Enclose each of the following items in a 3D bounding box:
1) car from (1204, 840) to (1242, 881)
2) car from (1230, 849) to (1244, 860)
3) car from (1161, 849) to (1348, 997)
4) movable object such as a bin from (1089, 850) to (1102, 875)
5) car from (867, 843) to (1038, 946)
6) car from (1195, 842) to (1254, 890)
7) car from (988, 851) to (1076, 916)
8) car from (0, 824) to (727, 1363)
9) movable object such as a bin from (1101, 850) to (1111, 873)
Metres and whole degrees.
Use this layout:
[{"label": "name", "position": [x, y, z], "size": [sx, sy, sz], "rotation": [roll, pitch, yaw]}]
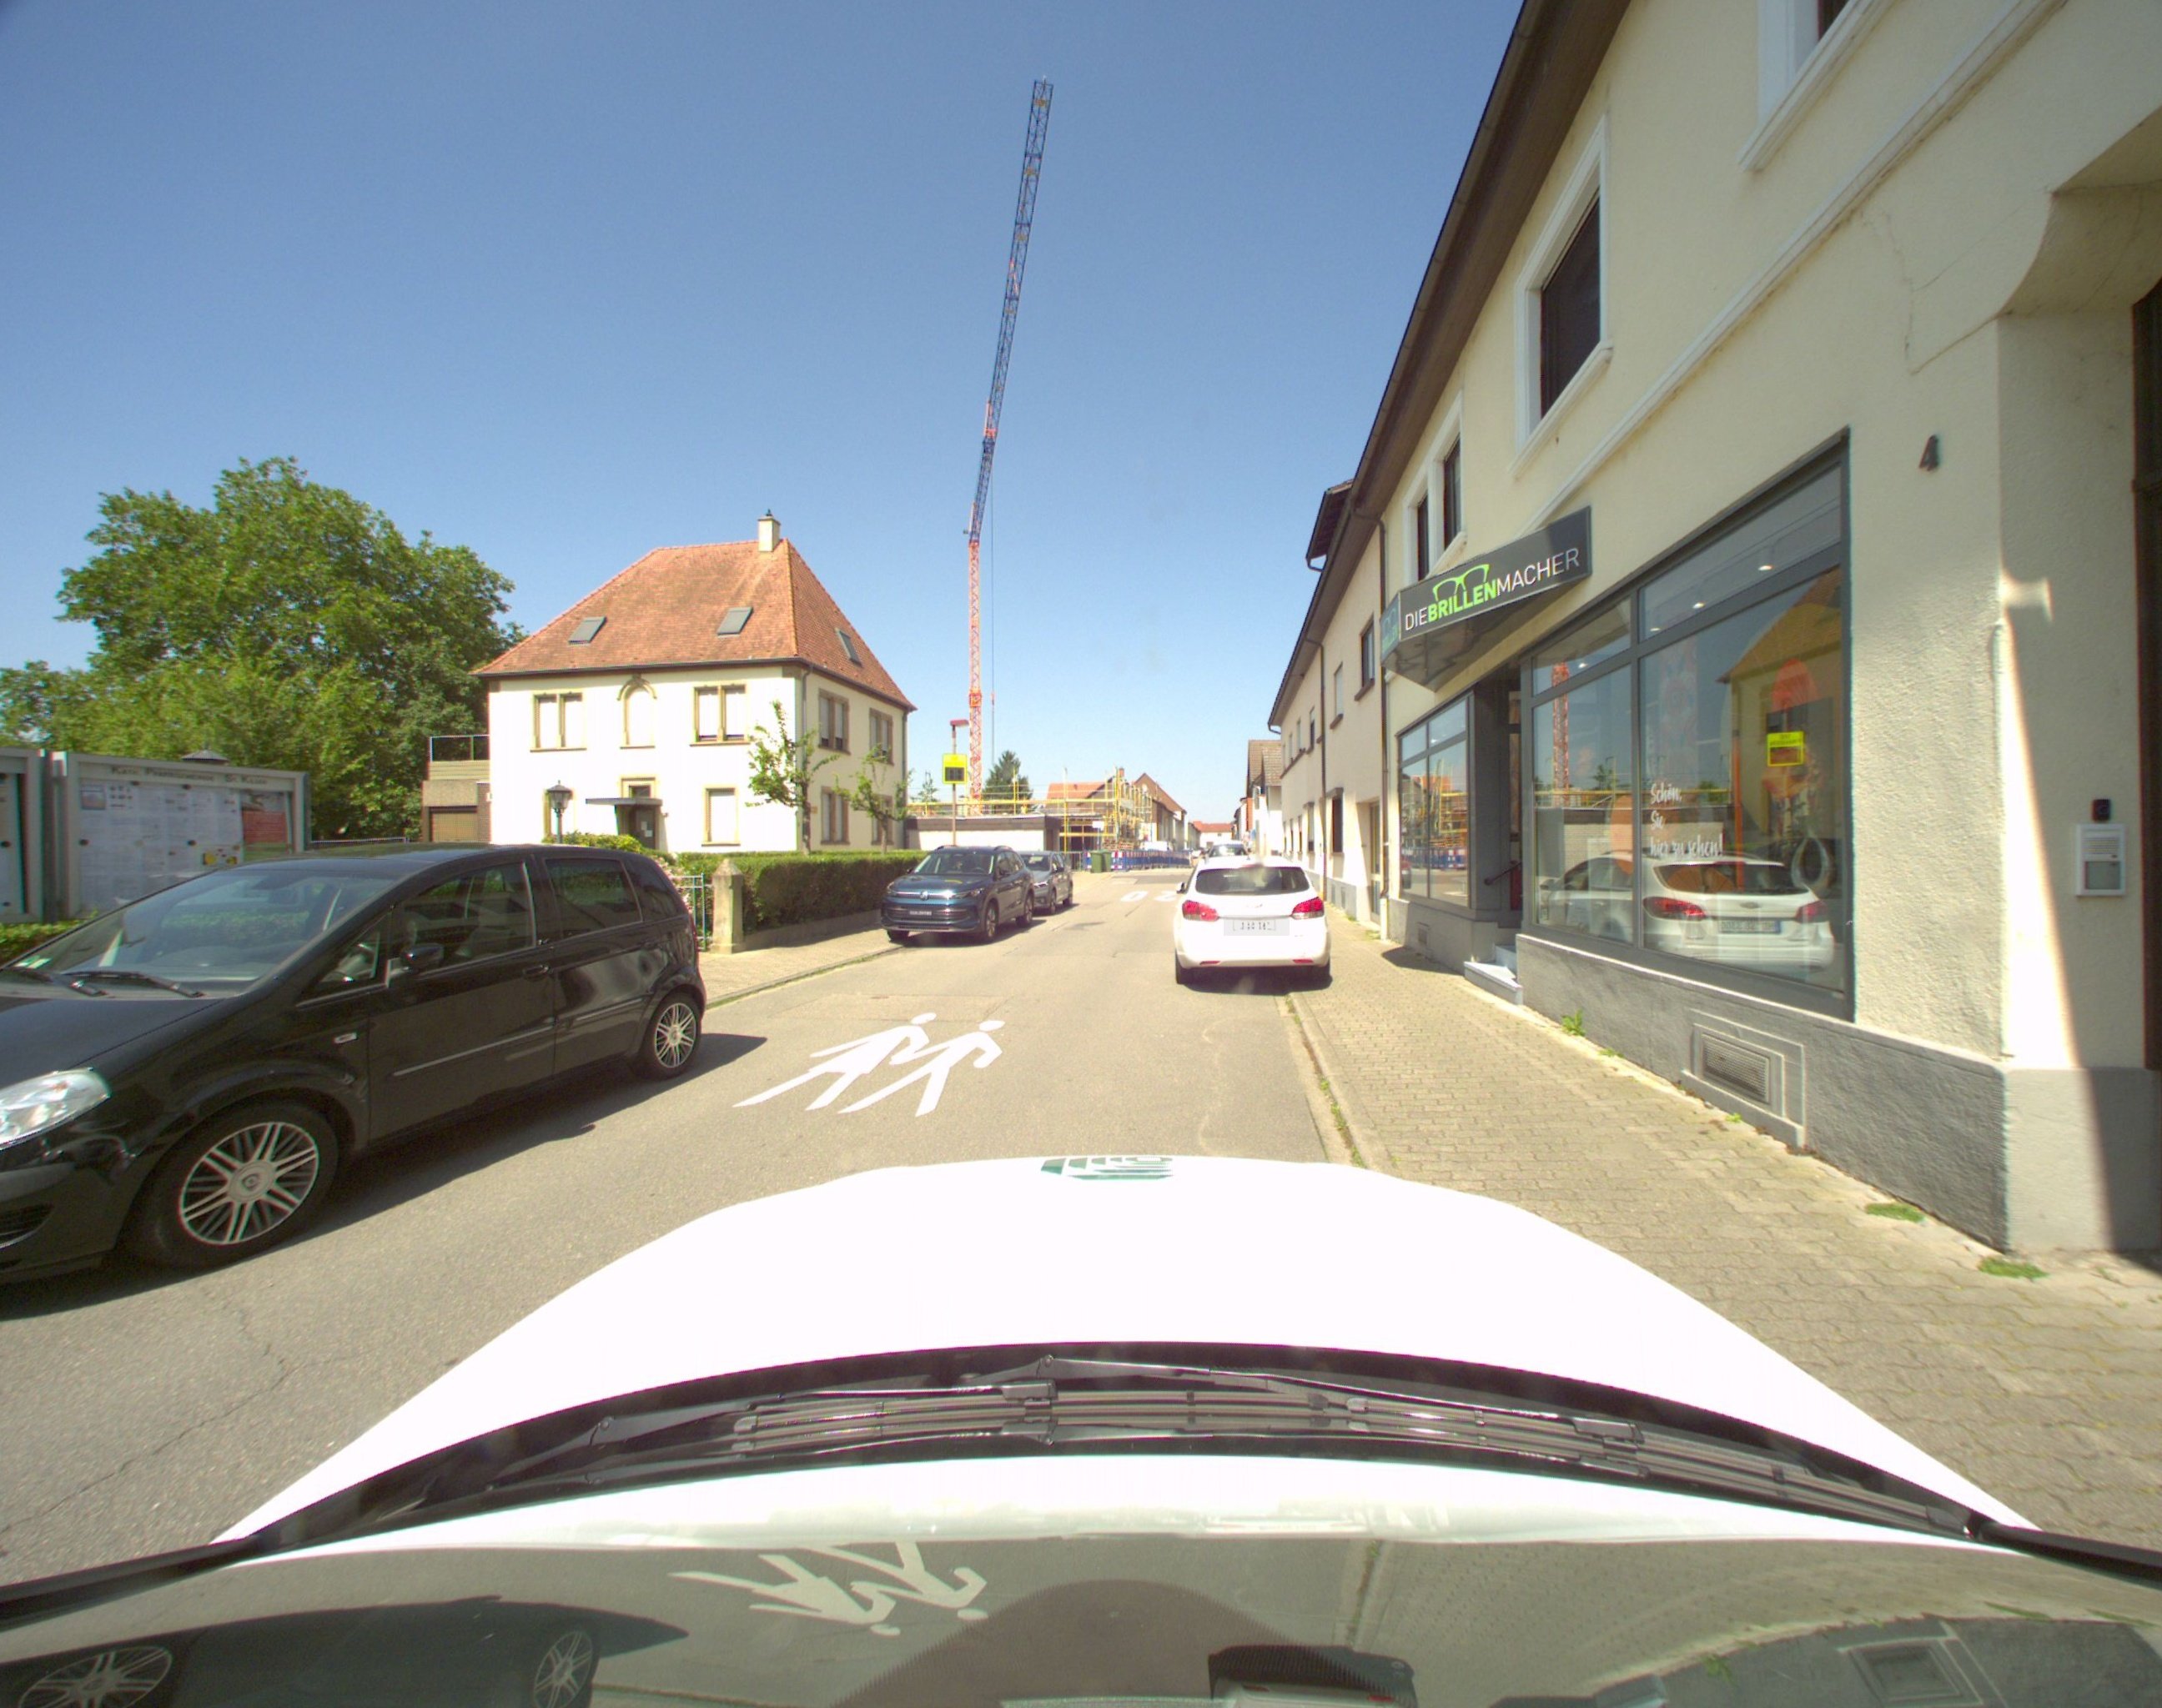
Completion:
[{"label": "car", "position": [6.167, 0.235, 35.451], "size": [1.555, 1.613, 3.553], "rotation": [0, 2, 9]}, {"label": "car", "position": [19.415, 0.076, 101.635], "size": [1.546, 1.387, 3.458], "rotation": [0, 1, 8]}, {"label": "car", "position": [2.032, 0.719, 10.700], "size": [1.878, 1.542, 4.248], "rotation": [0, 0, 5]}, {"label": "movable object such as a bin", "position": [0.698, 0.411, 39.722], "size": [0.619, 1.155, 0.678], "rotation": [-1, 0, 2]}, {"label": "car", "position": [-2.183, 0.637, 15.145], "size": [1.815, 1.630, 4.229], "rotation": [0, 0, 10]}, {"label": "car", "position": [5.271, 0.395, 30.328], "size": [1.874, 1.556, 3.902], "rotation": [-4, 0, 7]}, {"label": "car", "position": [-1.143, 0.670, 20.477], "size": [1.428, 1.474, 3.795], "rotation": [-1, 0, 8]}, {"label": "car", "position": [-3.781, 0.709, 4.387], "size": [1.628, 1.628, 3.778], "rotation": [0, 1, 9]}, {"label": "movable object such as a bin", "position": [1.229, 0.366, 40.125], "size": [0.430, 1.155, 0.364], "rotation": [-1, 0, 0]}]
